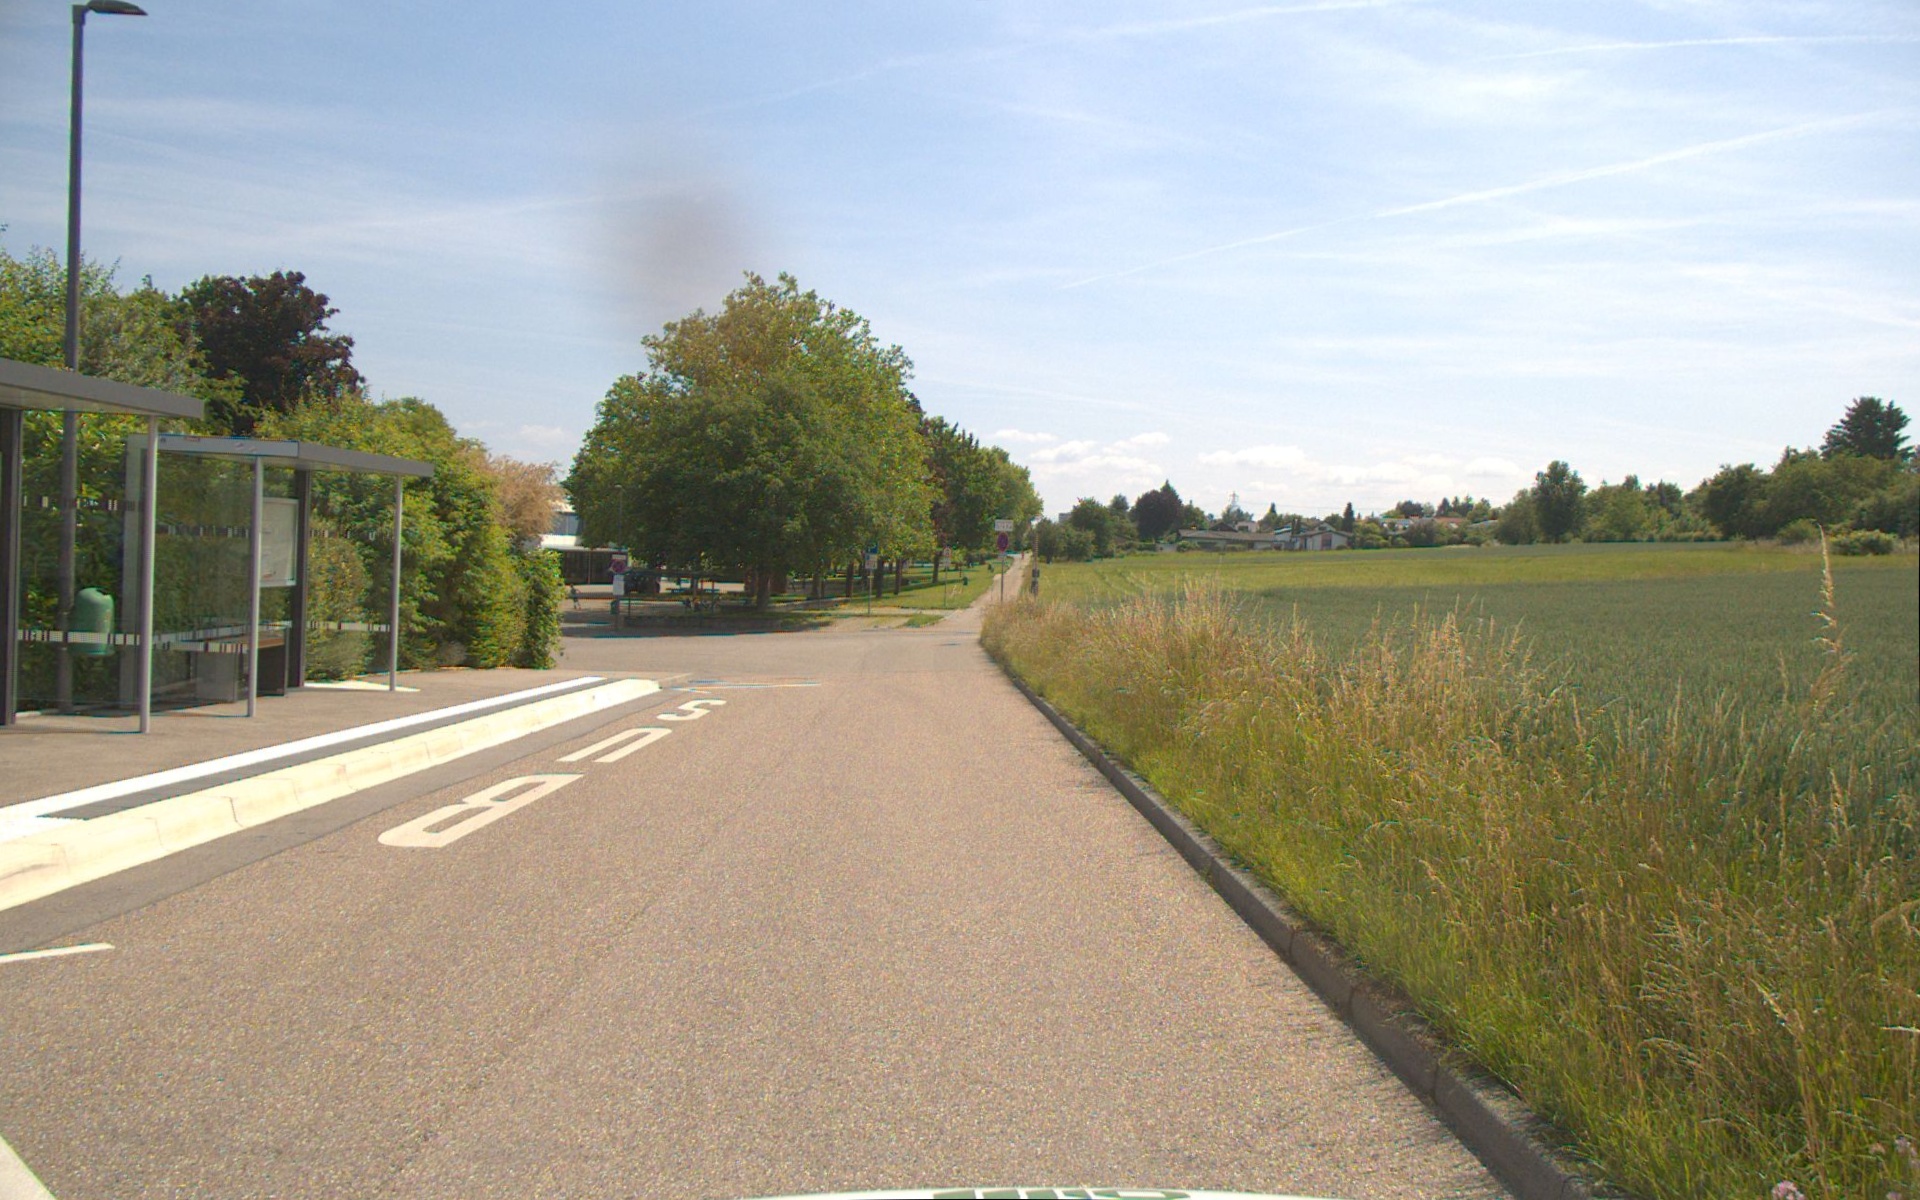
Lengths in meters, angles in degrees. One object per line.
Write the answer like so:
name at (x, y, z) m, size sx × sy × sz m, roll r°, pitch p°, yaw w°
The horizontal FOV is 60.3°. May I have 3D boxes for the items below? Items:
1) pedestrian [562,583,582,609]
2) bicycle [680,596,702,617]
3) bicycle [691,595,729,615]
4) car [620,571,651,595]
pedestrian at (-22.001, -0.220, 93.800) m, size 1.049 × 1.448 × 0.915 m, roll 1°, pitch 0°, yaw -18°
bicycle at (-14.312, 0.335, 88.009) m, size 0.582 × 1.057 × 1.895 m, roll 0°, pitch 1°, yaw 9°
bicycle at (-13.599, 0.256, 90.033) m, size 2.022 × 1.057 × 0.571 m, roll 0°, pitch 1°, yaw -6°
car at (-24.908, -1.309, 126.956) m, size 1.656 × 1.866 × 3.411 m, roll 0°, pitch 1°, yaw 0°
